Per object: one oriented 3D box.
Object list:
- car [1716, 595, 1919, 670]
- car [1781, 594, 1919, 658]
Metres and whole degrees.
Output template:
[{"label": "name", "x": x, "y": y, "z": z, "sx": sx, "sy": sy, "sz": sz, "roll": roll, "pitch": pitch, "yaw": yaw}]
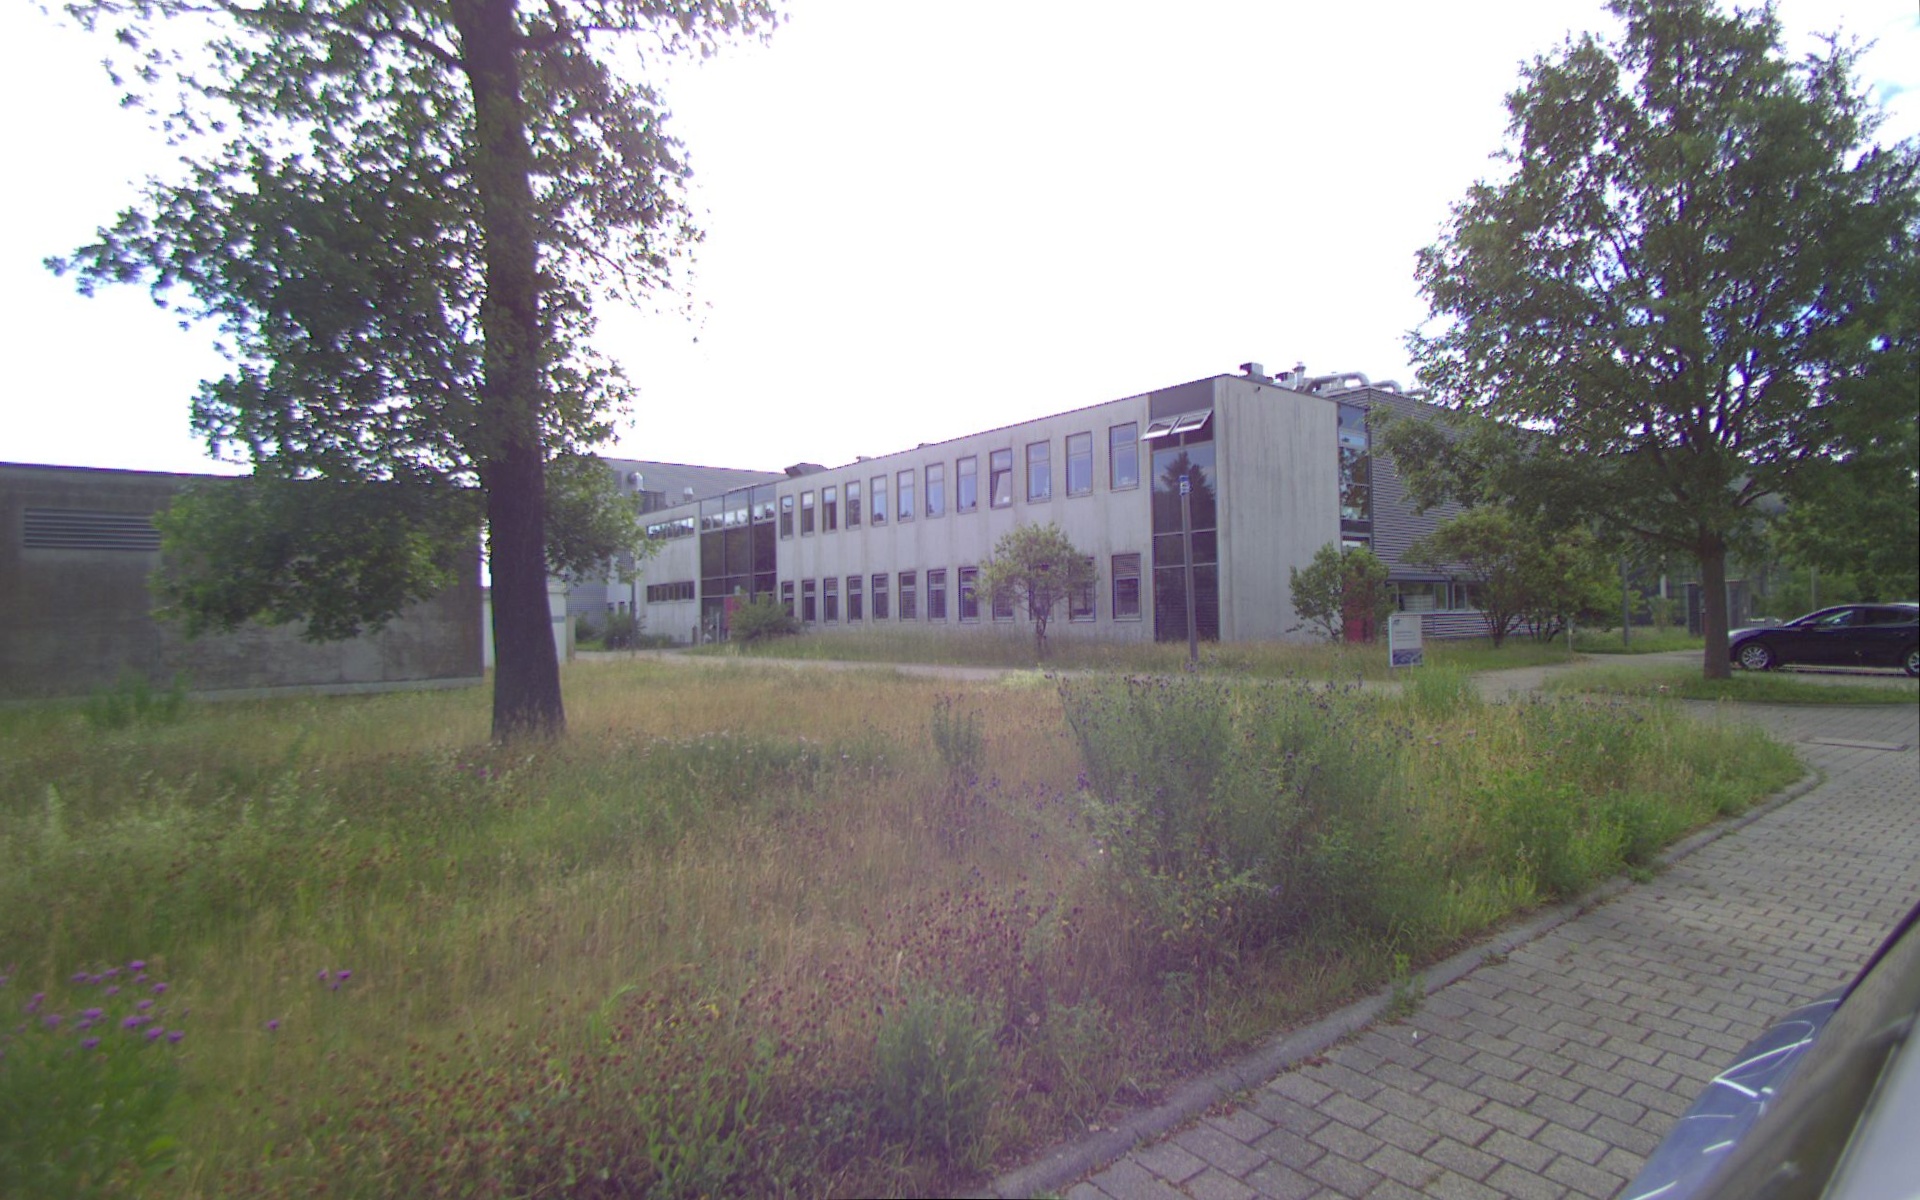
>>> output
[{"label": "car", "x": 18.850, "y": 0.636, "z": 21.243, "sx": 1.910, "sy": 1.465, "sz": 4.473, "roll": 0, "pitch": 0, "yaw": -39}, {"label": "car", "x": 22.729, "y": 0.613, "z": 24.617, "sx": 1.849, "sy": 1.485, "sz": 3.983, "roll": 0, "pitch": -1, "yaw": -39}]
